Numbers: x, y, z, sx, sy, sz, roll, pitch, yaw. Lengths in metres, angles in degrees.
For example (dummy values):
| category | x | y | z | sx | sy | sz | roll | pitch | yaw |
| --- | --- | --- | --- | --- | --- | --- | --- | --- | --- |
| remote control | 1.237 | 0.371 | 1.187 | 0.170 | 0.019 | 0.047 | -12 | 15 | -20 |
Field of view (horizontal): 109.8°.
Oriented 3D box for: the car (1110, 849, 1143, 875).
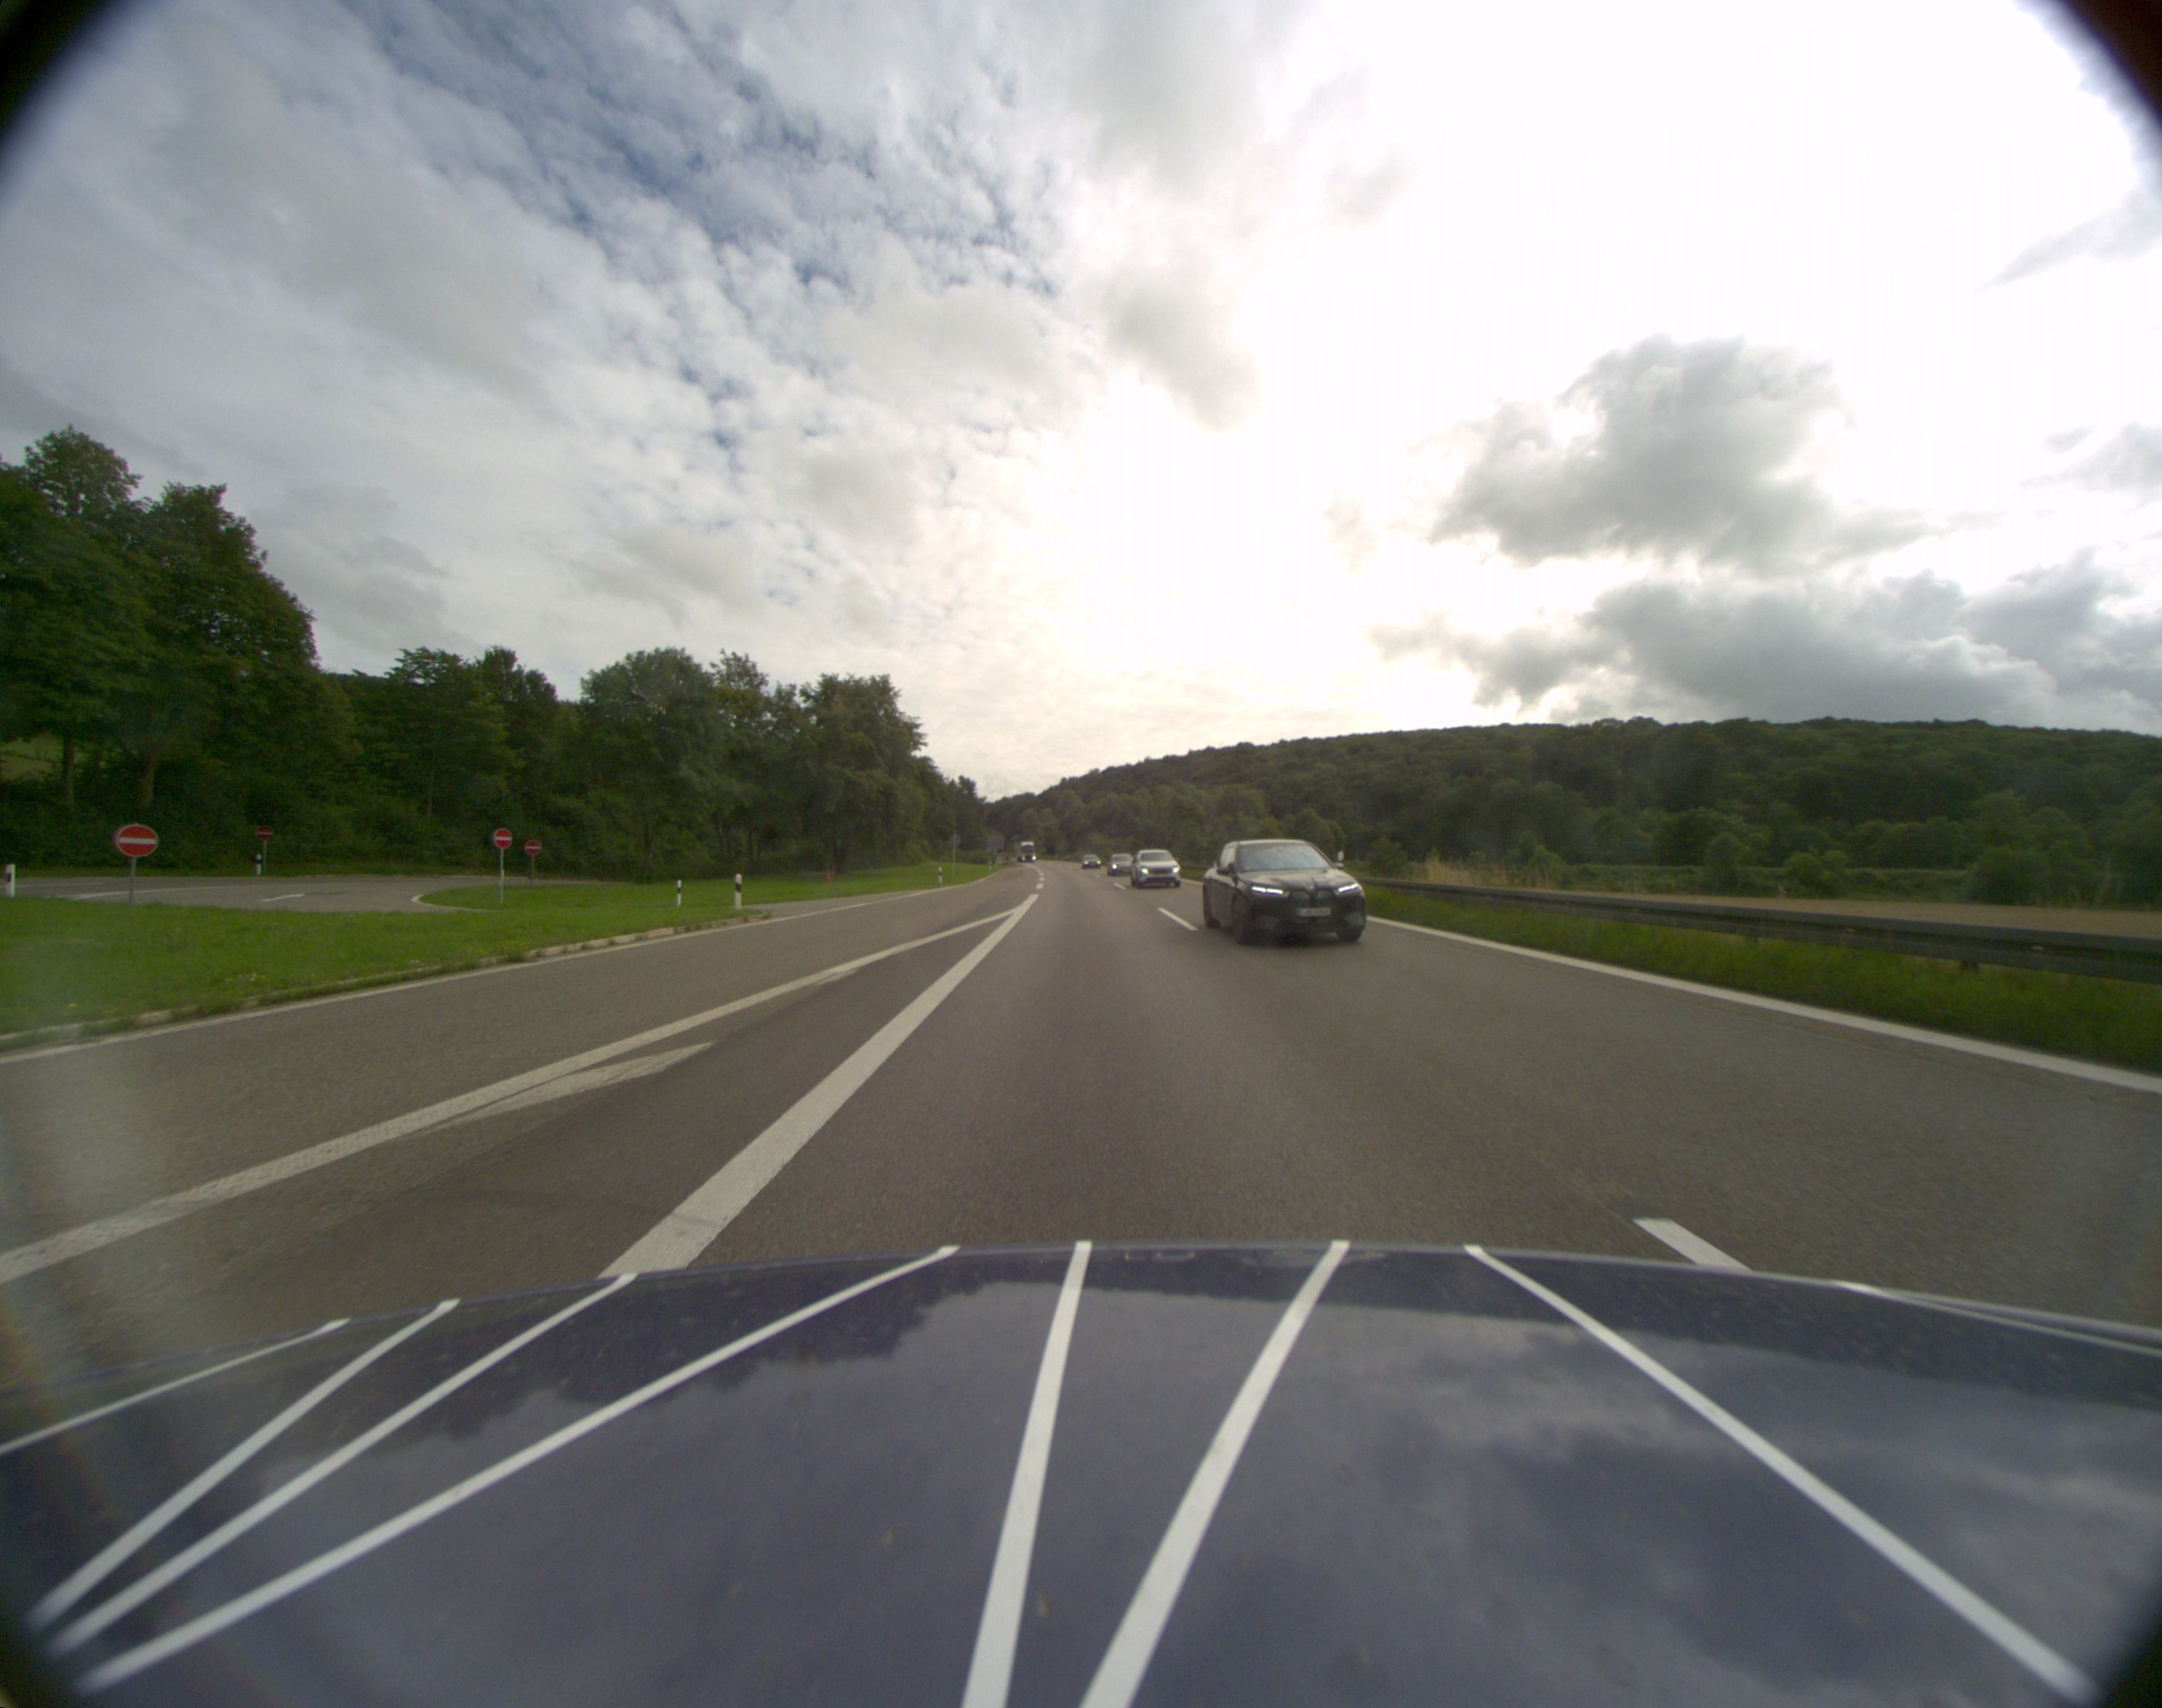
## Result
| category | x | y | z | sx | sy | sz | roll | pitch | yaw |
| --- | --- | --- | --- | --- | --- | --- | --- | --- | --- |
| car | 3.125 | 0.520 | 53.019 | 1.999 | 1.656 | 4.413 | -1 | 1 | -1 |

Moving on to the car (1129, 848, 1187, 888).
| category | x | y | z | sx | sy | sz | roll | pitch | yaw |
| --- | --- | --- | --- | --- | --- | --- | --- | --- | --- |
| car | 3.365 | 0.588 | 34.167 | 1.999 | 1.656 | 4.414 | -1 | 0 | -2 |

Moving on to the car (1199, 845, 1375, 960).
| category | x | y | z | sx | sy | sz | roll | pitch | yaw |
| --- | --- | --- | --- | --- | --- | --- | --- | --- | --- |
| car | 3.414 | 0.702 | 13.526 | 1.998 | 1.656 | 4.415 | -2 | 1 | 1 |

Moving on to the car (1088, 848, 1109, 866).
| category | x | y | z | sx | sy | sz | roll | pitch | yaw |
| --- | --- | --- | --- | --- | --- | --- | --- | --- | --- |
| car | 1.750 | 0.262 | 77.210 | 1.999 | 1.656 | 4.413 | -1 | 2 | 0 |

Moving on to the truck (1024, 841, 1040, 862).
| category | x | y | z | sx | sy | sz | roll | pitch | yaw |
| --- | --- | --- | --- | --- | --- | --- | --- | --- | --- |
| truck | -9.581 | -0.474 | 149.708 | 2.796 | 3.949 | 5.937 | -1 | 1 | -2 |
